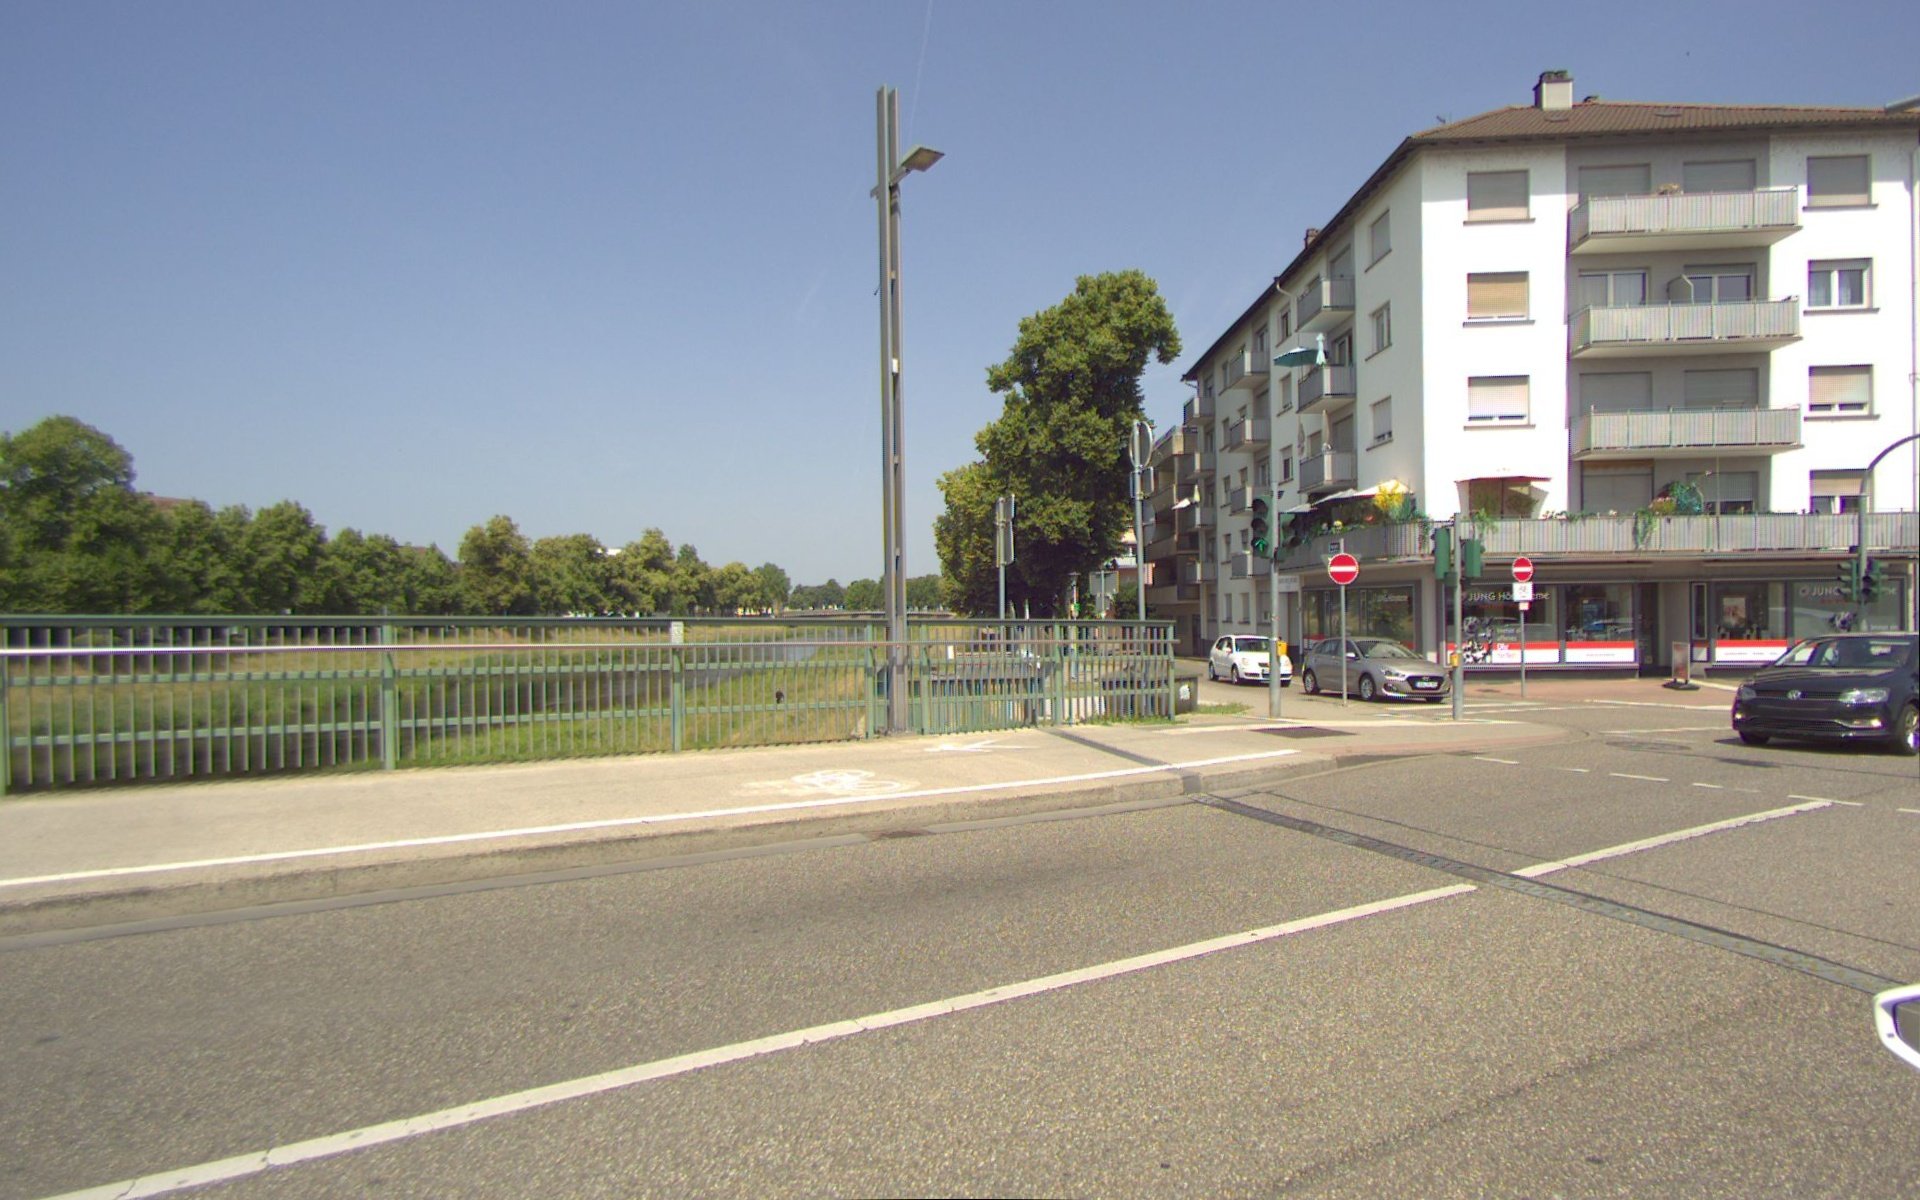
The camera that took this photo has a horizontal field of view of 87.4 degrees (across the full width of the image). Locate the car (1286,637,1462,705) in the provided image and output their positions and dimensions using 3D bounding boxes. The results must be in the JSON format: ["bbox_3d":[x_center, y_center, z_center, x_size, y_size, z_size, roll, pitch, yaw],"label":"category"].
[{"bbox_3d":[9.577,1.595,23.640,1.672,1.438,4.376,1,-2,-12],"label":"car"}]

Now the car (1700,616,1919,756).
[{"bbox_3d":[11.202,1.026,12.489,3.904,1.507,1.670,2,-3,-27],"label":"car"}]

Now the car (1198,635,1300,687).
[{"bbox_3d":[8.692,1.791,30.569,1.669,1.438,4.384,-1,-2,-2],"label":"car"}]
